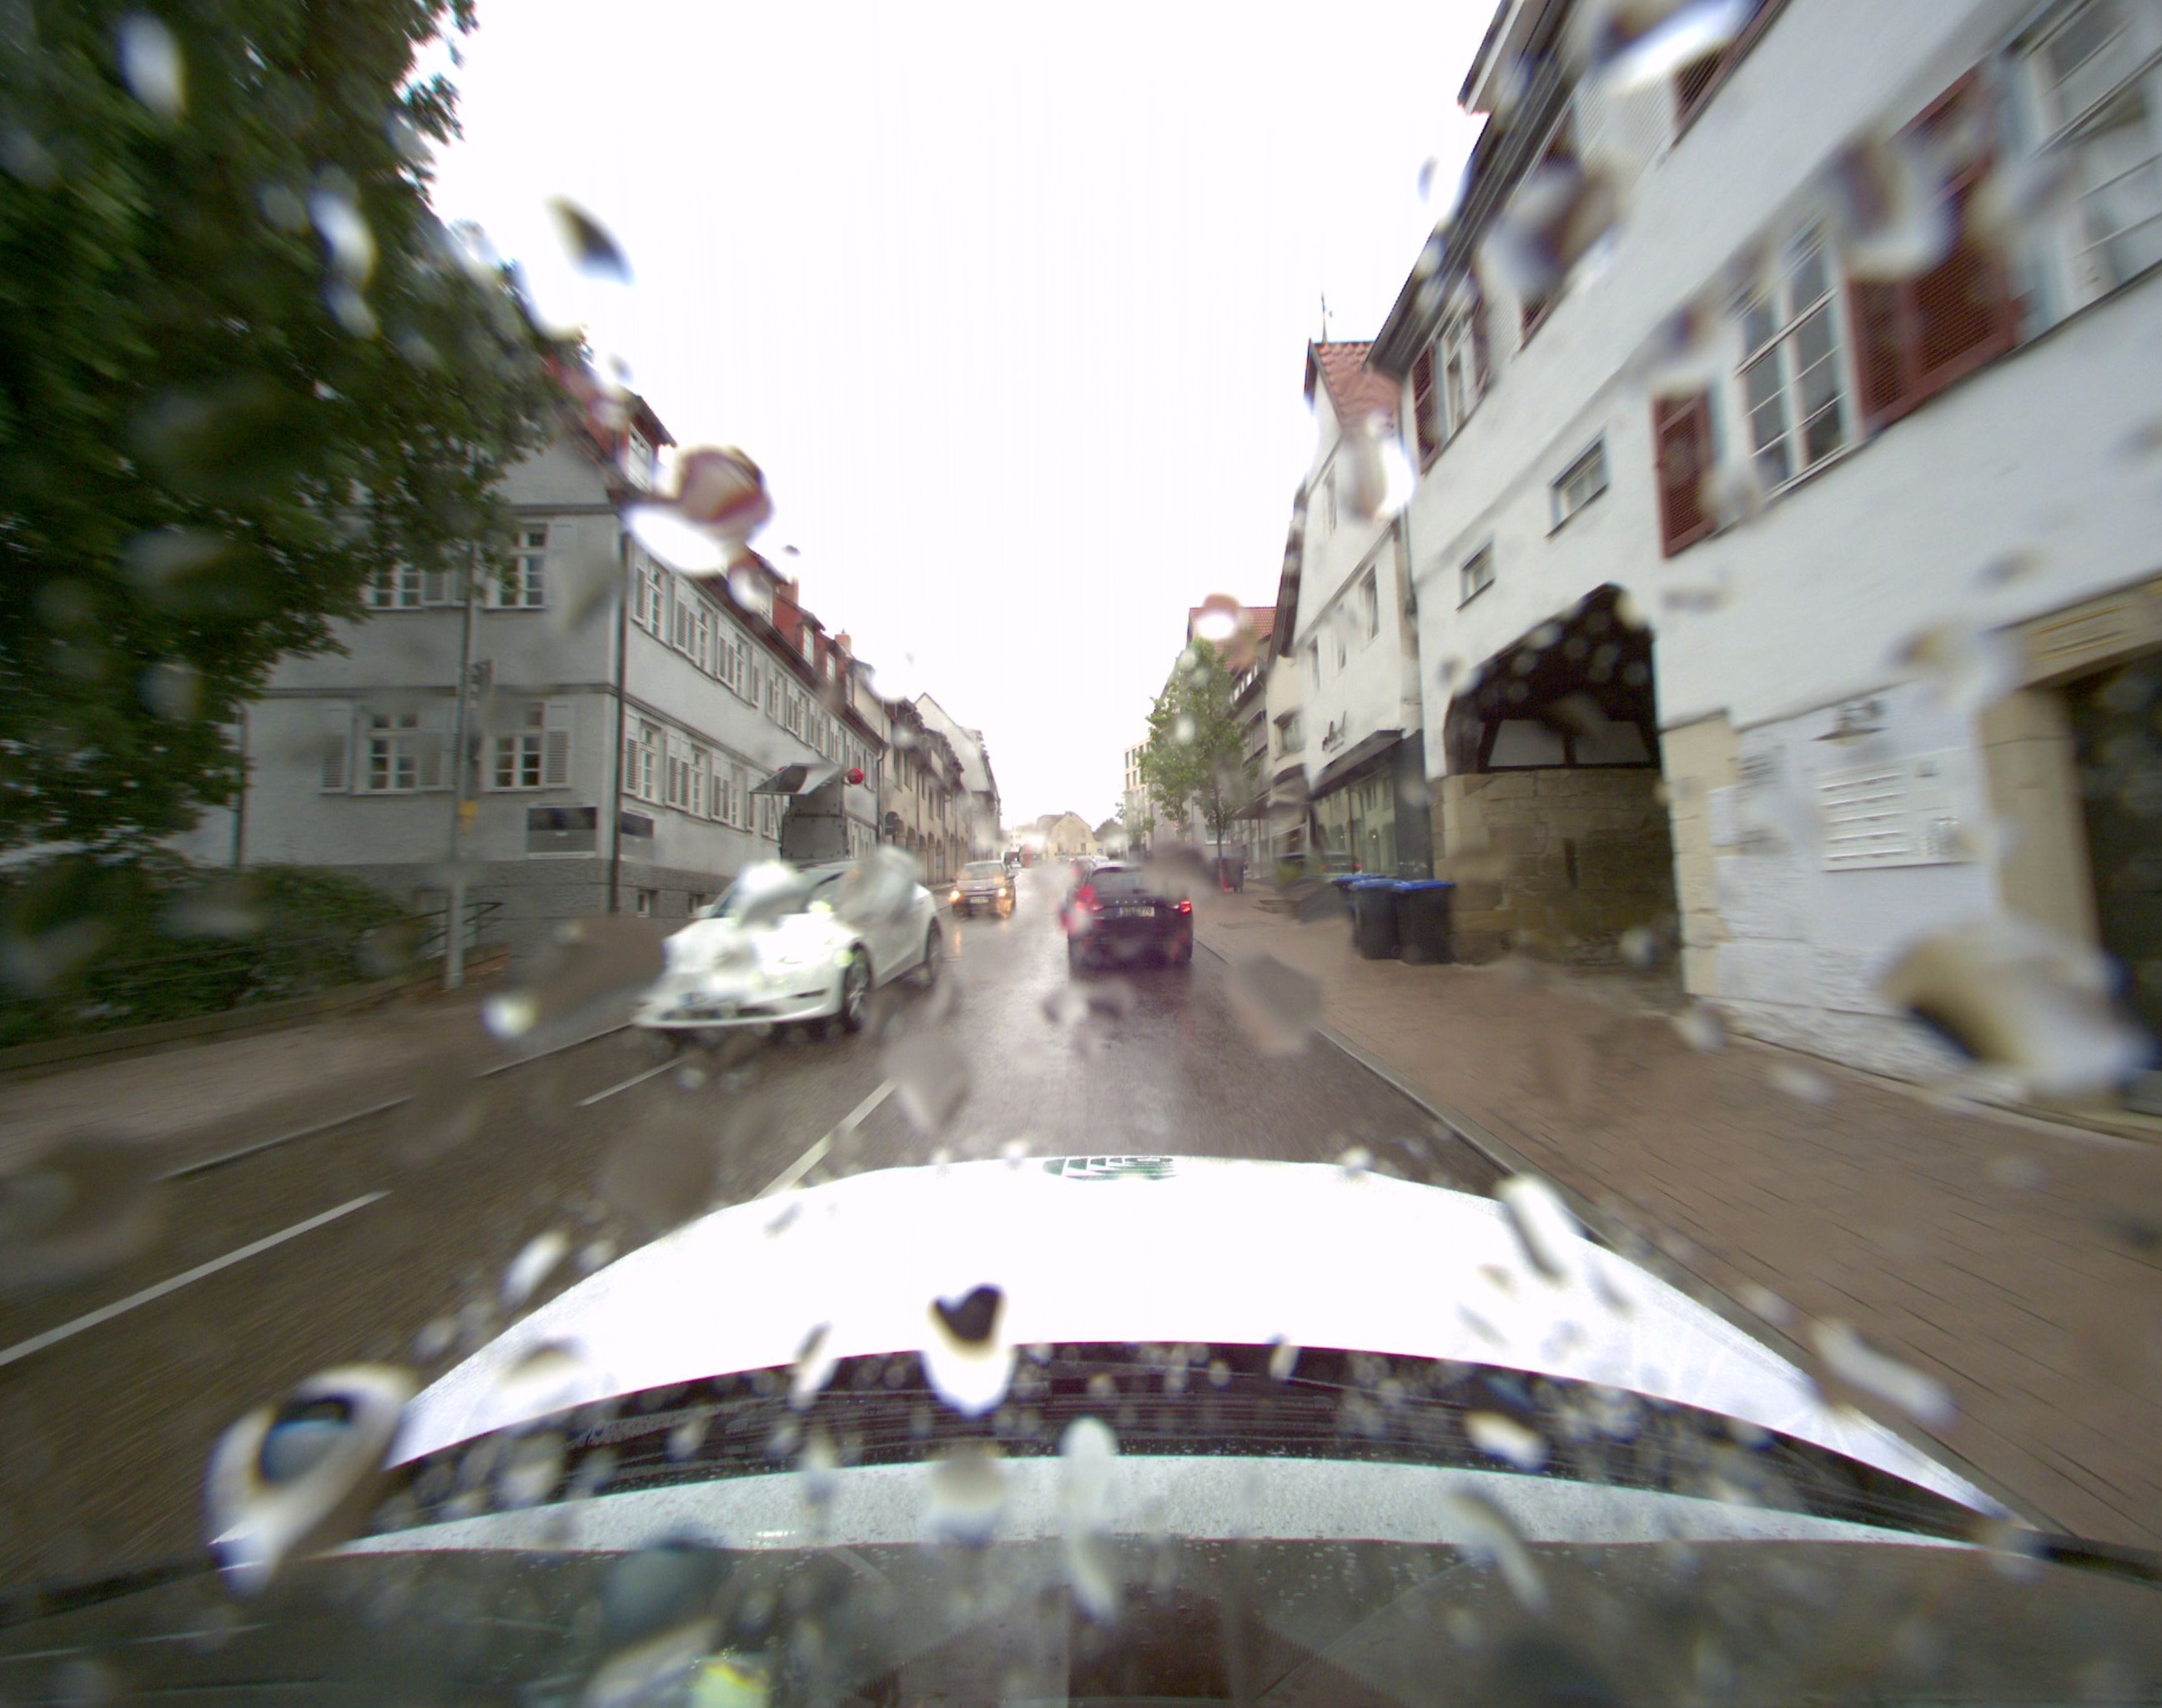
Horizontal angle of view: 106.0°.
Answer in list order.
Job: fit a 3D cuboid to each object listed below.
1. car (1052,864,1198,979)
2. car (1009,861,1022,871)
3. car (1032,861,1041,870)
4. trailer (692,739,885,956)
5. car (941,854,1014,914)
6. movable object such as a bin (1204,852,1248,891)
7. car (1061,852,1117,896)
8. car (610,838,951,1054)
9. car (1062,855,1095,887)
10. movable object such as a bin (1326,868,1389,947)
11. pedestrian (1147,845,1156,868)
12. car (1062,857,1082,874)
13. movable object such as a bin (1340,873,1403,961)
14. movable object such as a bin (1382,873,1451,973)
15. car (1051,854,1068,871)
[{"bbox_3d":[0.681,0.908,12.850,1.879,1.448,4.360,-1,-1,3],"label":"car"},{"bbox_3d":[-11.233,2.076,139.157,1.988,1.651,3.996,-1,-1,-2],"label":"car"},{"bbox_3d":[-7.714,1.966,141.102,1.624,1.530,3.995,0,0,-3],"label":"car"},{"bbox_3d":[-5.326,-0.114,15.597,1.987,3.533,4.575,0,0,0],"label":"trailer"},{"bbox_3d":[-2.902,0.814,23.524,1.769,1.534,3.707,-1,-1,-2],"label":"car"},{"bbox_3d":[5.182,0.627,29.227,1.283,1.349,1.486,-1,-1,-2],"label":"movable object such as a bin"},{"bbox_3d":[0.354,0.700,30.244,1.848,1.473,4.003,-1,-1,3],"label":"car"},{"bbox_3d":[-2.861,0.786,8.961,1.866,1.662,4.311,-5,-1,2],"label":"car"},{"bbox_3d":[-0.166,0.991,45.995,1.624,1.530,3.994,-1,-5,-3],"label":"car"},{"bbox_3d":[4.097,0.783,12.098,0.656,1.062,0.614,-5,1,2],"label":"movable object such as a bin"},{"bbox_3d":[5.525,0.197,63.989,0.702,1.725,0.833,0,0,2],"label":"pedestrian"},{"bbox_3d":[-0.861,1.050,75.079,1.700,1.552,3.601,0,0,-4],"label":"car"},{"bbox_3d":[3.970,0.848,11.153,0.565,1.108,0.676,-4,1,2],"label":"movable object such as a bin"},{"bbox_3d":[4.324,0.874,10.519,0.622,1.205,0.605,-1,2,-1],"label":"movable object such as a bin"},{"bbox_3d":[-2.676,1.083,102.676,1.987,2.014,3.998,-1,0,-1],"label":"car"}]
